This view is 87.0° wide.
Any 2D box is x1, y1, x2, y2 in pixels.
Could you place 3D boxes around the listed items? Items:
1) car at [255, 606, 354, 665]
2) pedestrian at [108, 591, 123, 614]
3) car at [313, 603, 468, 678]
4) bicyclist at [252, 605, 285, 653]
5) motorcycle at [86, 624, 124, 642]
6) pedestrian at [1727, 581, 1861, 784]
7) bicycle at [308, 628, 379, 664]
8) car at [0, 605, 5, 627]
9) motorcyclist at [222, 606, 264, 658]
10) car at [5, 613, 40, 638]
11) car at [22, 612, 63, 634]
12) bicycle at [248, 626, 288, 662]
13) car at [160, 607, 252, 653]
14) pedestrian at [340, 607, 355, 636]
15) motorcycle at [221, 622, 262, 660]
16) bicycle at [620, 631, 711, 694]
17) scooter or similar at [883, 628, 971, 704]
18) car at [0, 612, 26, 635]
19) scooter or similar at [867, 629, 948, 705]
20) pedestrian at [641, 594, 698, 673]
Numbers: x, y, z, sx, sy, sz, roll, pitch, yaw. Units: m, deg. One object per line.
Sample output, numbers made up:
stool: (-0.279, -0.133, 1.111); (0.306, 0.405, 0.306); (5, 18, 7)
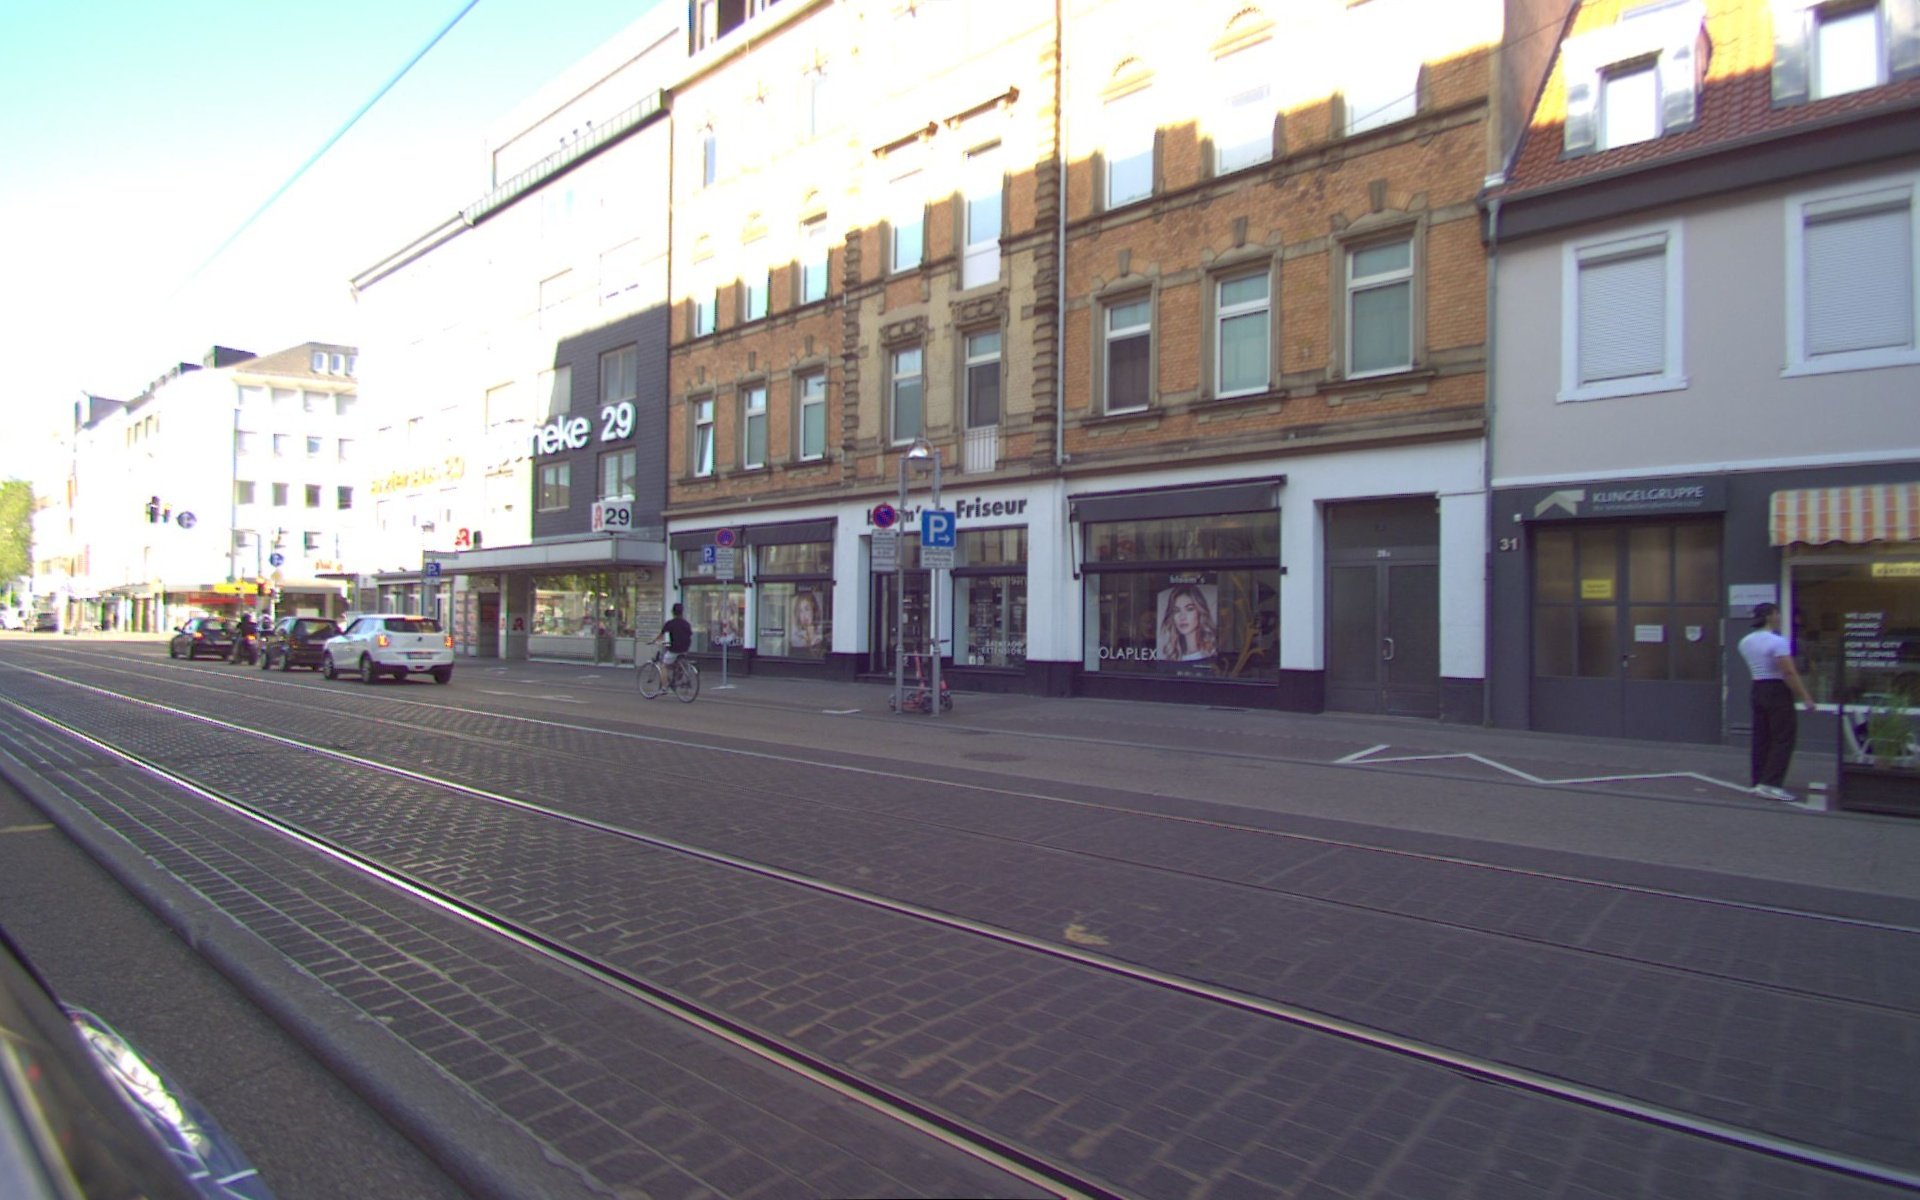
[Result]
car: (-18.517, 0.969, 28.568); (2.828, 1.578, 1.631); (-1, -2, 42)
pedestrian: (-62.695, 0.193, 75.129); (0.700, 1.722, 0.562); (1, -2, -28)
car: (-13.518, 0.937, 23.930); (4.261, 1.606, 1.870); (-1, -3, 42)
bicyclist: (-25.870, 1.074, 37.850); (1.146, 1.742, 0.742); (-1, -2, 42)
motorcycle: (-71.086, 2.730, 84.151); (0.999, 1.517, 2.226); (-1, -2, 38)
pedestrian: (7.702, 0.736, 9.370); (0.605, 1.789, 0.721); (1, -1, -17)
bicycle: (-22.353, 1.643, 36.745); (0.772, 1.233, 2.084); (-1, 0, 36)
car: (-93.502, 1.552, 97.364); (3.998, 2.029, 1.973); (-1, -2, 41)
motorcyclist: (-22.448, 1.000, 31.681); (1.146, 1.570, 0.794); (-1, -3, 42)
car: (-80.323, 2.175, 86.701); (4.844, 2.029, 1.971); (-1, -2, 44)
car: (-73.899, 1.822, 81.483); (3.998, 1.719, 1.973); (-1, -2, 41)
bicycle: (-25.857, 1.628, 37.784); (2.024, 1.303, 0.742); (-1, -2, 41)
car: (-26.210, 1.055, 35.133); (4.137, 1.457, 1.695); (-1, -4, 42)
pedestrian: (-36.764, 1.297, 60.740); (0.644, 1.725, 0.794); (1, -1, -40)
motorcycle: (-22.575, 1.272, 31.801); (2.116, 1.128, 0.564); (-1, -3, 42)
bicycle: (-5.597, 1.152, 19.191); (1.948, 1.124, 0.573); (-1, -2, 35)
scooter or similar: (-0.575, 1.099, 17.251); (1.475, 1.211, 0.573); (-1, 0, 38)
car: (-84.850, 2.095, 90.132); (3.998, 2.029, 1.973); (-1, -2, 41)
scooter or similar: (-0.888, 1.099, 16.882); (1.475, 1.211, 0.360); (-1, 0, 38)
pedestrian: (-5.493, 0.629, 19.134); (0.872, 1.455, 0.619); (0, -1, 34)
